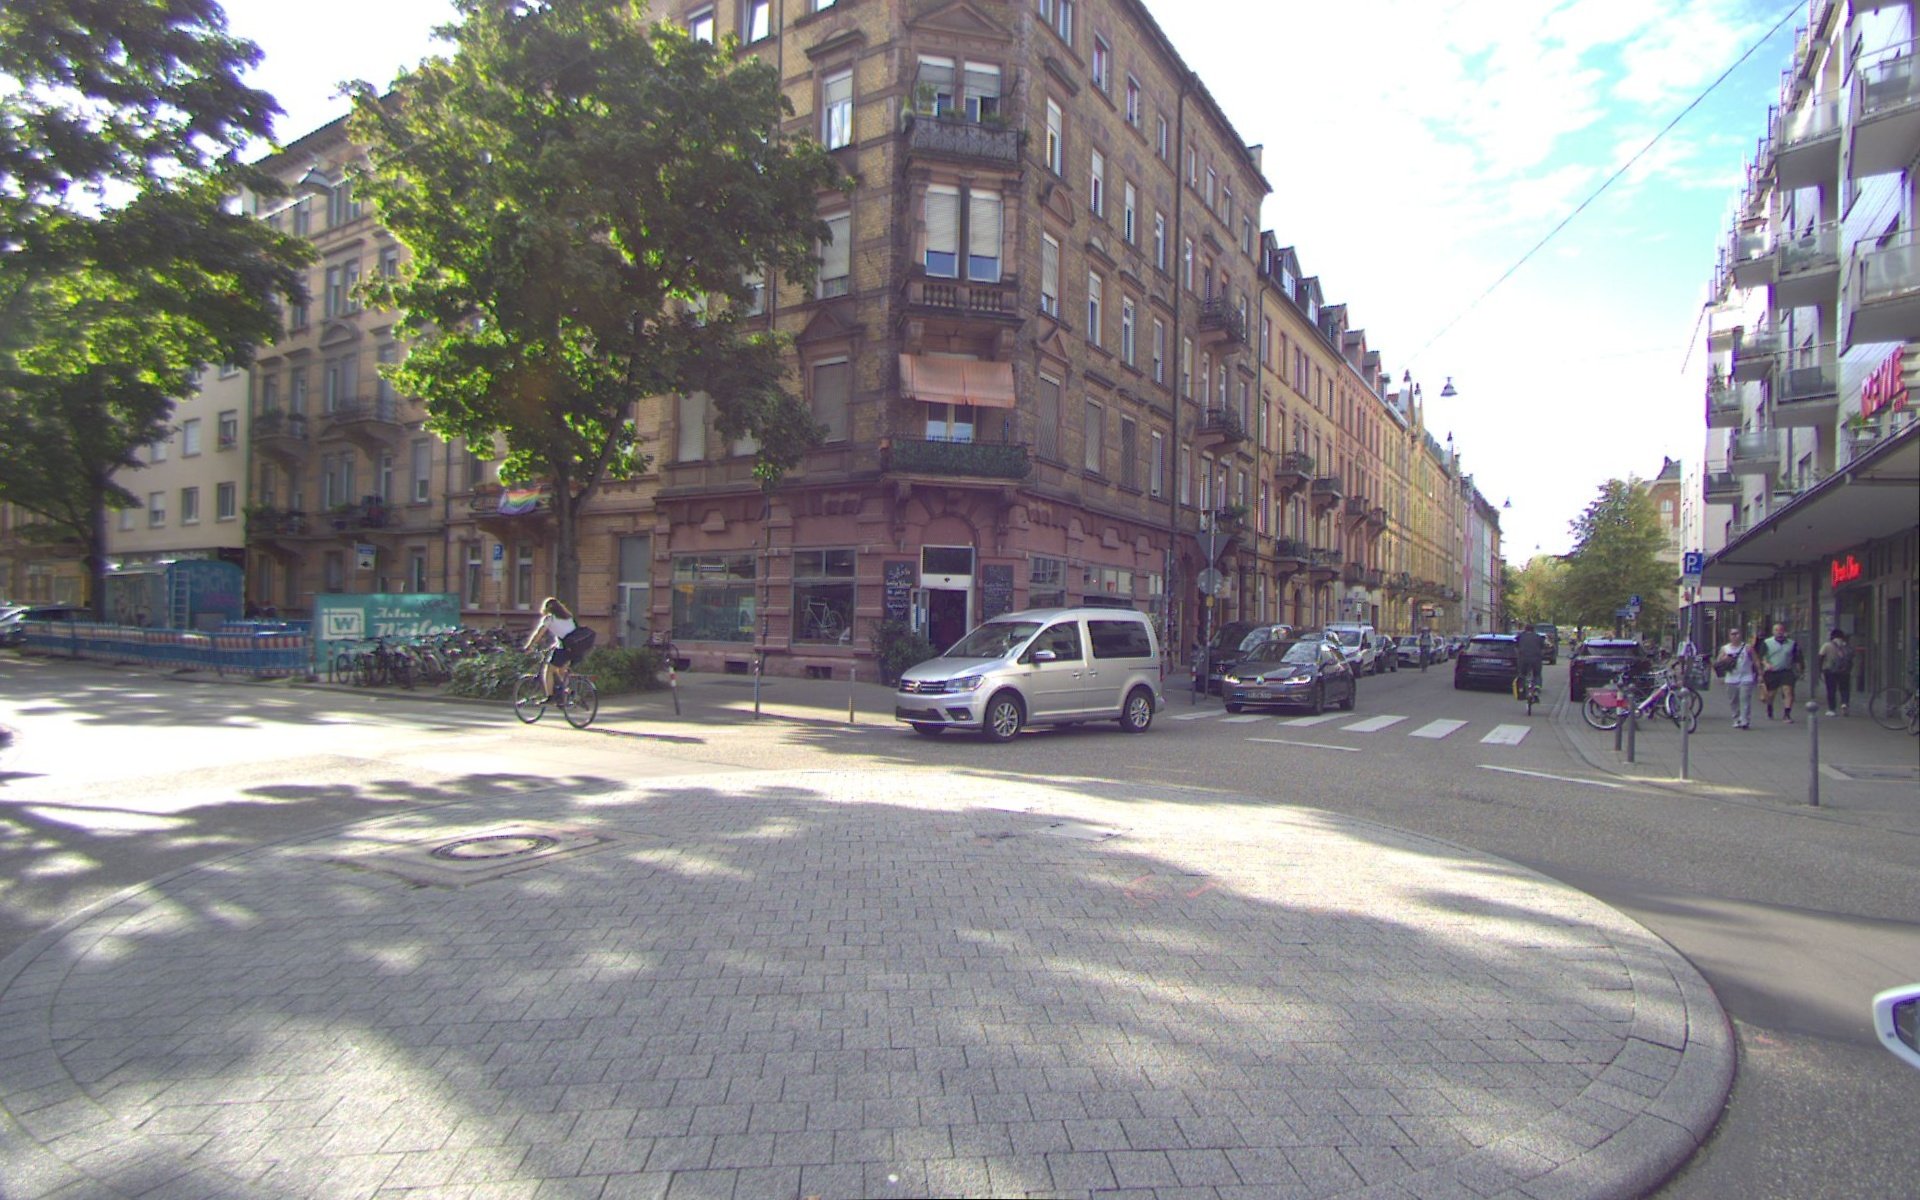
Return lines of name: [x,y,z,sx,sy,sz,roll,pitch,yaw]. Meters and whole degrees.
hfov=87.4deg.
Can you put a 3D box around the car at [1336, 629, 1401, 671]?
car: [16.599,2.052,40.706,1.717,1.503,3.975,3,-2,32]

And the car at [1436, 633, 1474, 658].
car: [31.225,2.816,63.365,1.666,1.405,3.857,2,0,33]

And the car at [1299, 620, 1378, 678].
car: [13.704,1.711,36.210,1.892,1.896,4.427,1,-1,31]

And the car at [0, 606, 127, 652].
car: [-34.824,1.122,38.724,1.853,1.623,3.977,2,0,43]

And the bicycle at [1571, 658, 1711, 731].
bicycle: [11.427,1.565,16.952,1.856,1.140,0.906,-2,-2,31]

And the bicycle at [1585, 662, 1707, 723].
bicycle: [12.730,1.702,18.694,1.759,1.085,0.569,-2,-1,23]

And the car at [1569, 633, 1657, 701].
car: [17.031,1.699,26.245,1.768,1.626,3.914,-2,-3,33]

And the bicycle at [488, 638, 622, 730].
bicycle: [-5.856,1.184,14.505,1.942,1.215,0.692,0,-2,29]

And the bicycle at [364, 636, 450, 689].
bicycle: [-11.865,1.319,21.524,2.038,1.043,0.590,1,1,27]

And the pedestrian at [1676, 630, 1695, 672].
pedestrian: [31.322,2.191,43.379,0.603,1.749,1.123,0,-1,33]

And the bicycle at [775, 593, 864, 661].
bicycle: [-3.328,0.622,23.698,2.125,1.541,0.556,1,-1,28]

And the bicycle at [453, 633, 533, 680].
bicycle: [-11.024,1.318,23.701,2.038,1.025,0.590,1,1,27]

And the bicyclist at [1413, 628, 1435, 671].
bicyclist: [19.159,2.022,41.462,0.690,1.700,1.110,2,0,30]

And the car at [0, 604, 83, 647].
car: [-38.049,1.008,40.417,1.853,1.623,3.977,2,0,43]

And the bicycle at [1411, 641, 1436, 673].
bicycle: [19.084,2.331,41.353,0.690,1.236,2.113,2,0,30]

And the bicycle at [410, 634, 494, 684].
bicycle: [-11.376,1.307,22.474,2.038,1.025,0.590,1,1,27]

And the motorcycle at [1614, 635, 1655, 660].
motorcycle: [43.390,3.052,64.627,2.123,1.550,0.683,-2,-2,38]

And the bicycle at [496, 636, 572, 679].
bicycle: [-10.643,1.426,25.078,2.038,0.981,0.590,1,1,27]

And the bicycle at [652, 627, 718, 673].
bicycle: [-6.991,1.267,25.529,1.752,1.081,0.527,1,-1,31]

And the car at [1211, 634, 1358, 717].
car: [6.460,1.429,19.749,1.767,1.456,3.990,-1,-3,33]

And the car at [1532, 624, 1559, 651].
car: [47.212,3.039,80.982,1.757,2.047,3.879,2,0,31]

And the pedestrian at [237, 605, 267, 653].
pedestrian: [-25.596,1.052,36.322,0.511,1.695,0.700,1,-1,31]

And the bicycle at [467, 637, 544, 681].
bicycle: [-11.080,1.421,24.474,2.038,0.981,0.590,1,1,27]

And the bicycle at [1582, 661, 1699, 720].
bicycle: [13.043,1.725,19.303,1.759,1.085,0.586,-2,-1,23]

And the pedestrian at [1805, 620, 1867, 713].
pedestrian: [17.055,1.285,19.575,0.703,1.770,0.815,-2,-2,30]

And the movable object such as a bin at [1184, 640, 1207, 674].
movable object such as a bin: [5.309,1.282,22.617,0.377,0.723,0.475,2,0,28]

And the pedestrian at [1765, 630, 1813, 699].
pedestrian: [19.854,1.533,24.077,0.813,1.609,0.778,0,-2,34]

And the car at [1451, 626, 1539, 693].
car: [15.731,1.716,29.443,1.937,1.763,4.031,1,-2,33]

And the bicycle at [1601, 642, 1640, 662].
bicycle: [36.224,2.853,55.119,1.739,1.071,0.411,-2,-2,28]

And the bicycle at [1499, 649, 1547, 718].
bicycle: [11.584,1.682,20.640,0.708,1.291,1.879,2,0,33]

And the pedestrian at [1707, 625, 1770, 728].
pedestrian: [13.429,1.303,17.354,0.791,1.692,1.020,0,-3,34]

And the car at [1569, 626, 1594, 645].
car: [59.454,3.366,96.063,1.903,1.660,3.990,2,0,33]

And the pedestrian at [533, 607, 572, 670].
pedestrian: [-10.692,0.993,26.355,0.797,1.599,0.612,2,3,39]

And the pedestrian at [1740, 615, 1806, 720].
pedestrian: [15.049,1.233,18.588,0.874,1.858,1.042,-2,-3,40]

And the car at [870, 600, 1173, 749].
car: [0.985,0.999,14.348,4.296,1.814,1.814,2,-3,-40]

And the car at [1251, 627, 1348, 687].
car: [10.556,1.712,31.080,1.965,1.660,4.136,1,-1,31]

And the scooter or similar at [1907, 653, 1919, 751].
scooter or similar: [12.337,1.287,12.407,0.623,1.229,1.253,-2,-2,30]

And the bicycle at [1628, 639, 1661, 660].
bicycle: [37.956,2.739,55.685,1.475,1.161,0.410,-2,-2,33]

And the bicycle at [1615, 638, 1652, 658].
bicycle: [40.038,2.840,59.753,0.494,1.174,1.785,0,-2,-31]

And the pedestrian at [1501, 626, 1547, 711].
pedestrian: [11.632,1.381,20.715,0.708,1.672,0.928,2,0,33]

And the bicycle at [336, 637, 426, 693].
bicycle: [-12.094,1.332,20.957,2.102,1.043,0.590,1,1,27]

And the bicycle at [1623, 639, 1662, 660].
bicycle: [38.176,2.761,56.183,1.739,1.161,0.411,-2,-2,27]

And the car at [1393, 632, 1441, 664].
car: [24.034,2.496,52.740,1.717,1.503,3.973,2,0,33]

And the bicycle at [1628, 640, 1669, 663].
bicycle: [37.066,2.773,54.085,1.742,1.177,0.648,-2,-2,35]

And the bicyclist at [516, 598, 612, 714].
bicyclist: [-5.686,0.786,14.431,1.107,1.607,0.692,0,-2,29]

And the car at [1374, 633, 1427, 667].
car: [21.357,2.374,48.586,1.717,1.503,3.973,2,0,33]

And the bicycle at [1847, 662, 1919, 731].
bicycle: [15.388,1.560,16.507,0.730,1.028,1.781,-2,-3,26]

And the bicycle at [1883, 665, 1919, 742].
bicycle: [13.639,1.438,13.769,0.664,1.056,1.735,1,-2,13]

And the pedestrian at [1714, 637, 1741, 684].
pedestrian: [26.226,2.055,34.328,0.635,1.609,0.778,-2,-2,34]

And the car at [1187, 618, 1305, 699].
car: [7.379,1.423,25.654,1.734,1.797,4.396,3,0,31]

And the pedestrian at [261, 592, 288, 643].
pedestrian: [-25.218,0.634,36.936,0.512,1.842,0.623,1,-1,32]
